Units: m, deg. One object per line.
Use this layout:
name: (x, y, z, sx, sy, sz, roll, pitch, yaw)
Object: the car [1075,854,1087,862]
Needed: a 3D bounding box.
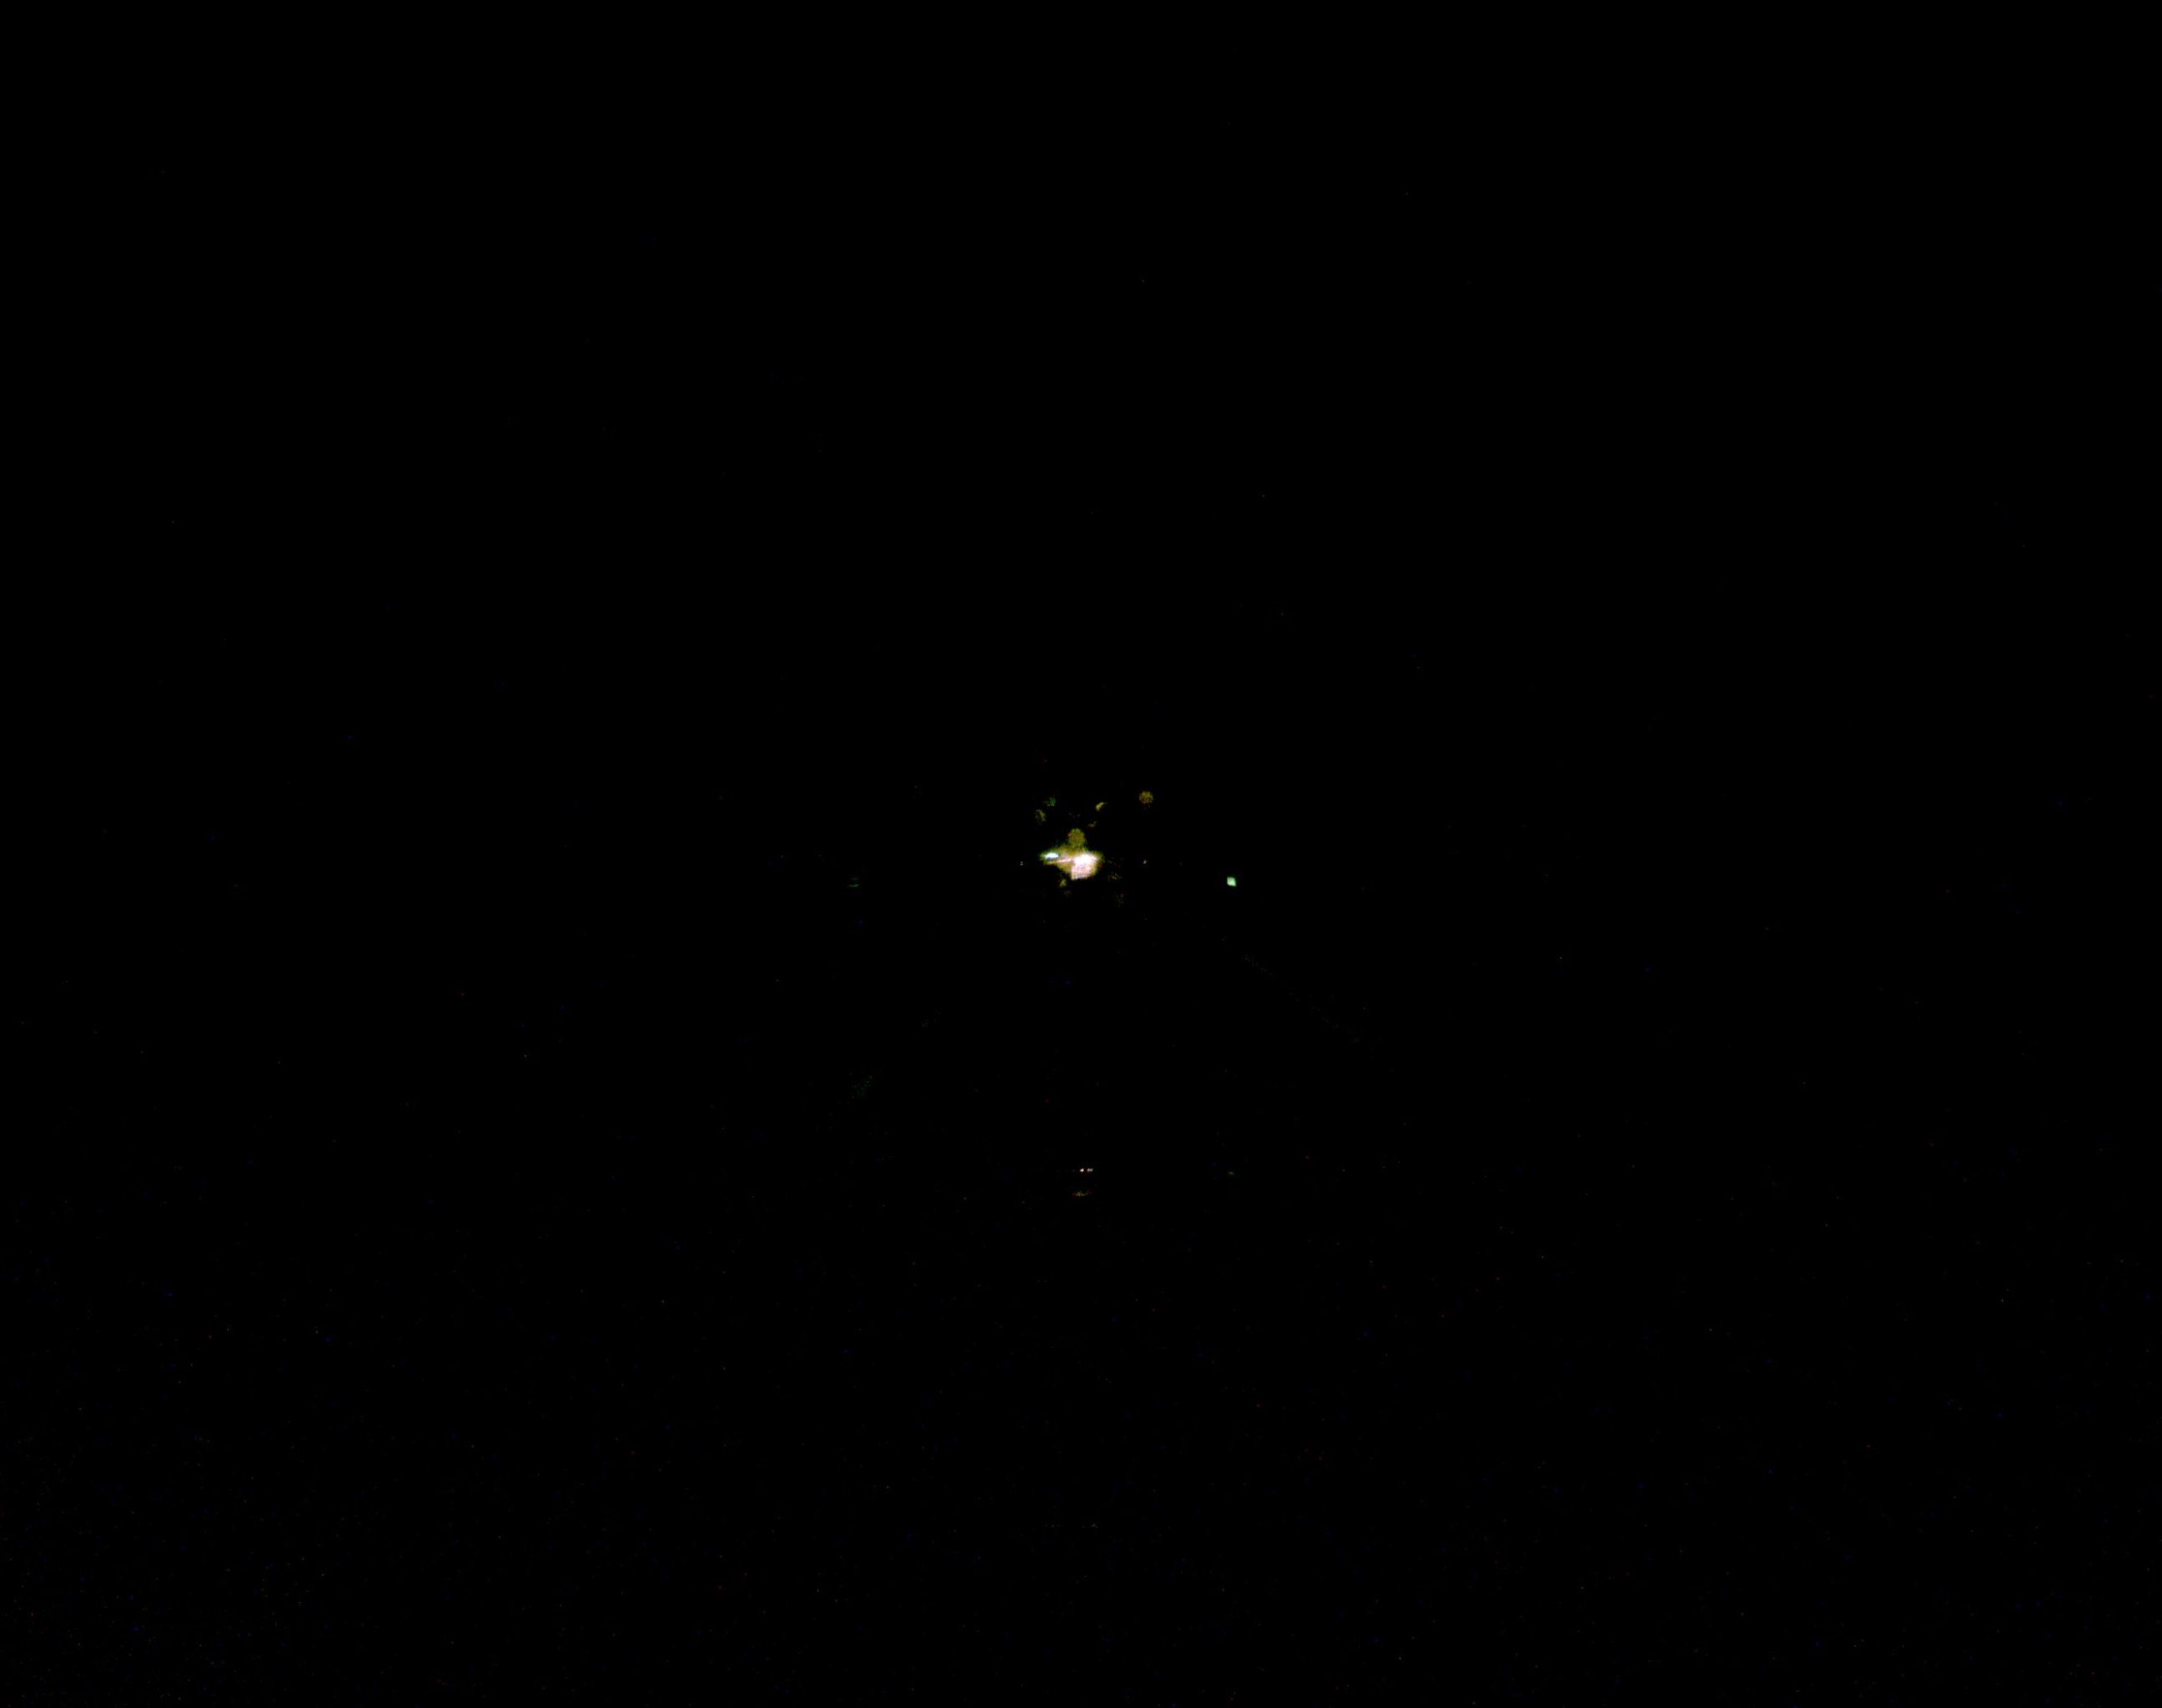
car: (-0.001, 0.772, 148.823, 1.986, 1.475, 3.925, -1, 0, 1)
